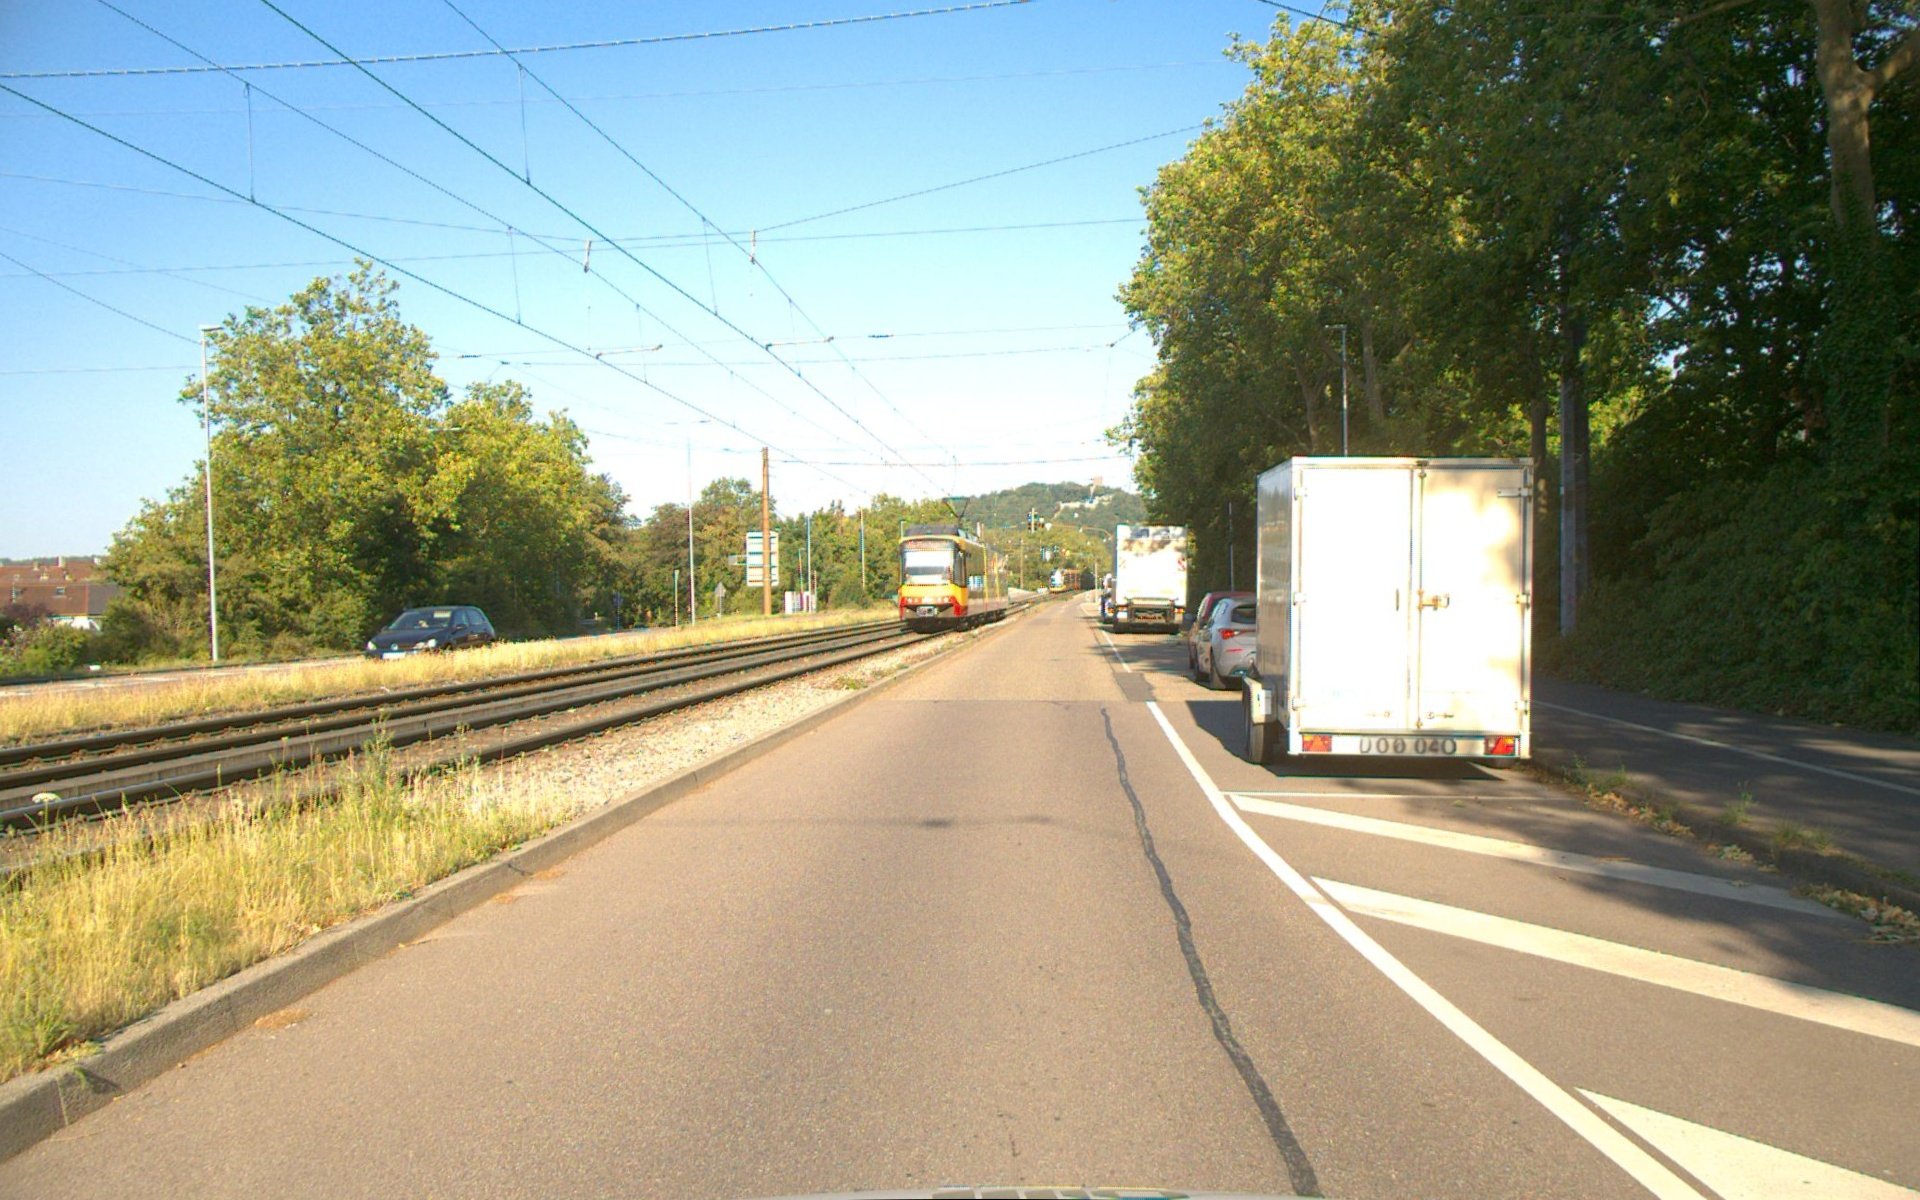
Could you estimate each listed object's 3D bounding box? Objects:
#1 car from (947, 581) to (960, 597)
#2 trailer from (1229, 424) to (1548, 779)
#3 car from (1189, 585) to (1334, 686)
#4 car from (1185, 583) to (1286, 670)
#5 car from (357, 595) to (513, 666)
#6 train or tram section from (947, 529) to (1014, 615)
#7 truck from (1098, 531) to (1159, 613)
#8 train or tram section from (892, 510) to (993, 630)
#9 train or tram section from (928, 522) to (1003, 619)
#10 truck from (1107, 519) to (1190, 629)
[{"bbox_3d":[-0.822,-1.434,213.271,1.688,2.049,4.000,1,0,1],"label":"car"},{"bbox_3d":[3.812,-0.010,15.856,2.203,2.742,5.951,0,0,7],"label":"trailer"},{"bbox_3d":[4.805,0.519,26.885,1.771,1.482,4.167,1,0,3],"label":"car"},{"bbox_3d":[5.342,0.475,32.412,1.606,1.563,3.642,2,1,4],"label":"car"},{"bbox_3d":[-11.784,0.639,37.418,1.736,1.450,4.492,-1,0,5],"label":"car"},{"bbox_3d":[1.204,-1.446,88.308,2.662,4.160,12.820,-2,0,4],"label":"train or tram section"},{"bbox_3d":[8.359,-1.371,82.801,2.660,3.849,9.766,1,1,4],"label":"truck"},{"bbox_3d":[-0.479,-1.121,65.290,2.664,4.162,13.623,-2,0,4],"label":"train or tram section"},{"bbox_3d":[0.373,-1.322,76.965,2.638,4.160,9.916,-2,0,4],"label":"train or tram section"},{"bbox_3d":[7.137,-0.980,63.702,2.684,3.849,10.094,1,1,4],"label":"truck"}]
